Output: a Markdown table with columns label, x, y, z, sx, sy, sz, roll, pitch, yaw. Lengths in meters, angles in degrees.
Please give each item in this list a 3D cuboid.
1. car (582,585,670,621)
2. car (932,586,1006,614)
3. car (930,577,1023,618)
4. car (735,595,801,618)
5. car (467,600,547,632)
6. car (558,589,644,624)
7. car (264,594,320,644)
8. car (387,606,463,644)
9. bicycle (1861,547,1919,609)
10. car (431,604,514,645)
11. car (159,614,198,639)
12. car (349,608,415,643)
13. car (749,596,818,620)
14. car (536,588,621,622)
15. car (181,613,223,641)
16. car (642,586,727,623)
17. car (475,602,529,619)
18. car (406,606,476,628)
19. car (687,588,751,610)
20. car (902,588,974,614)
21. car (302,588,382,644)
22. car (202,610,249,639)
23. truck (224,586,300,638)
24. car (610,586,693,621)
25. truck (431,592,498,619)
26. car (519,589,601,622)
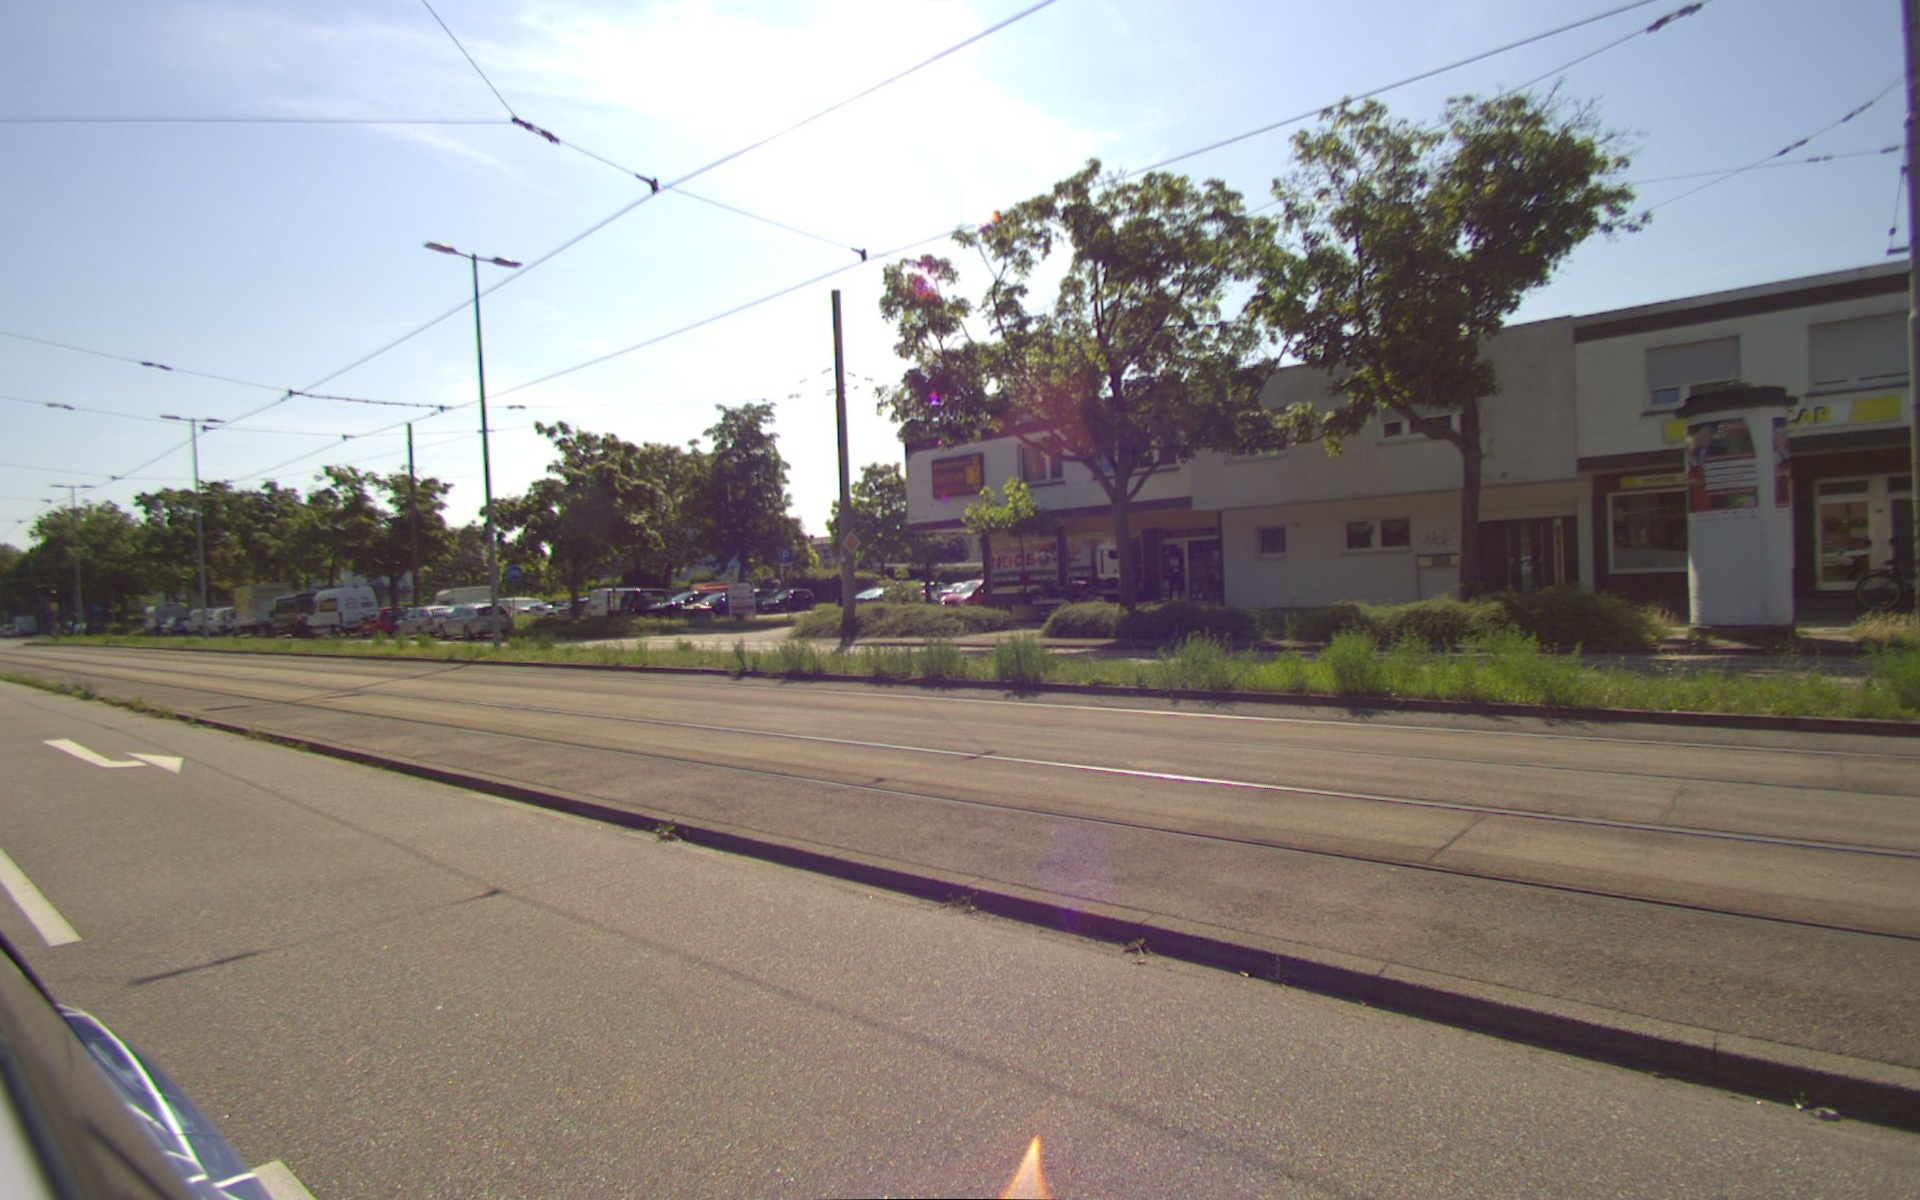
| label | x | y | z | sx | sy | sz | roll | pitch | yaw |
| --- | --- | --- | --- | --- | --- | --- | --- | --- | --- |
| car | -17.982 | 0.157 | 54.660 | 1.988 | 1.751 | 4.068 | -2 | 1 | 38 |
| car | 0.511 | -0.016 | 55.866 | 1.676 | 1.345 | 4.197 | -2 | 1 | 43 |
| car | 0.771 | -0.133 | 44.476 | 1.676 | 1.616 | 4.197 | -2 | 1 | 43 |
| car | -12.868 | 0.404 | 67.949 | 1.676 | 1.345 | 4.197 | -2 | 1 | 43 |
| car | -29.116 | 1.028 | 64.909 | 5.739 | 1.824 | 2.560 | -2 | 1 | 42 |
| car | -19.878 | 0.345 | 56.140 | 1.988 | 1.751 | 4.068 | -2 | 1 | 38 |
| car | -38.160 | 1.091 | 57.797 | 4.005 | 2.643 | 1.483 | -2 | 3 | 42 |
| car | -25.079 | 1.170 | 47.399 | 4.255 | 1.544 | 1.654 | -2 | 4 | 42 |
| bicycle | 18.770 | -0.432 | 19.291 | 2.333 | 1.161 | 0.779 | -2 | -1 | 42 |
| car | -21.175 | 1.070 | 43.894 | 4.255 | 1.544 | 1.654 | -2 | 4 | 42 |
| car | -60.191 | 2.047 | 77.915 | 3.685 | 1.799 | 1.484 | -2 | 3 | 40 |
| car | -28.958 | 1.277 | 50.674 | 3.791 | 1.544 | 1.654 | -2 | 4 | 41 |
| car | -11.347 | 0.507 | 65.285 | 1.676 | 1.345 | 4.197 | -2 | 1 | 43 |
| car | -21.745 | 0.277 | 57.818 | 1.988 | 1.751 | 4.068 | -2 | 1 | 38 |
| car | -55.491 | 1.959 | 74.064 | 4.056 | 1.859 | 1.484 | -2 | 3 | 40 |
| car | -13.814 | 0.221 | 50.892 | 1.676 | 1.646 | 3.761 | -2 | 1 | 43 |
| car | -41.647 | 0.912 | 92.099 | 1.676 | 1.345 | 4.198 | -2 | 1 | 42 |
| car | -37.865 | 1.236 | 73.941 | 1.676 | 1.345 | 4.198 | -2 | 1 | 42 |
| car | -16.926 | -0.107 | 71.143 | 1.675 | 1.345 | 4.201 | -2 | 1 | 39 |
| car | -1.248 | 0.039 | 58.227 | 1.676 | 1.345 | 4.197 | -2 | 1 | 43 |
| car | -33.027 | 0.882 | 54.023 | 5.201 | 2.673 | 2.036 | -2 | 4 | 42 |
| car | -50.650 | 1.710 | 69.745 | 4.631 | 1.817 | 1.483 | -2 | 4 | 42 |
| truck | -44.150 | 0.792 | 63.946 | 5.902 | 2.955 | 2.476 | -2 | 4 | 42 |
| car | -16.111 | 0.165 | 52.959 | 1.676 | 1.646 | 3.761 | -2 | 1 | 43 |
| truck | -48.703 | 0.490 | 99.529 | 1.988 | 2.398 | 5.584 | -2 | 1 | 38 |
| car | -23.858 | 0.331 | 60.480 | 1.988 | 1.751 | 4.068 | -2 | 1 | 38 |
